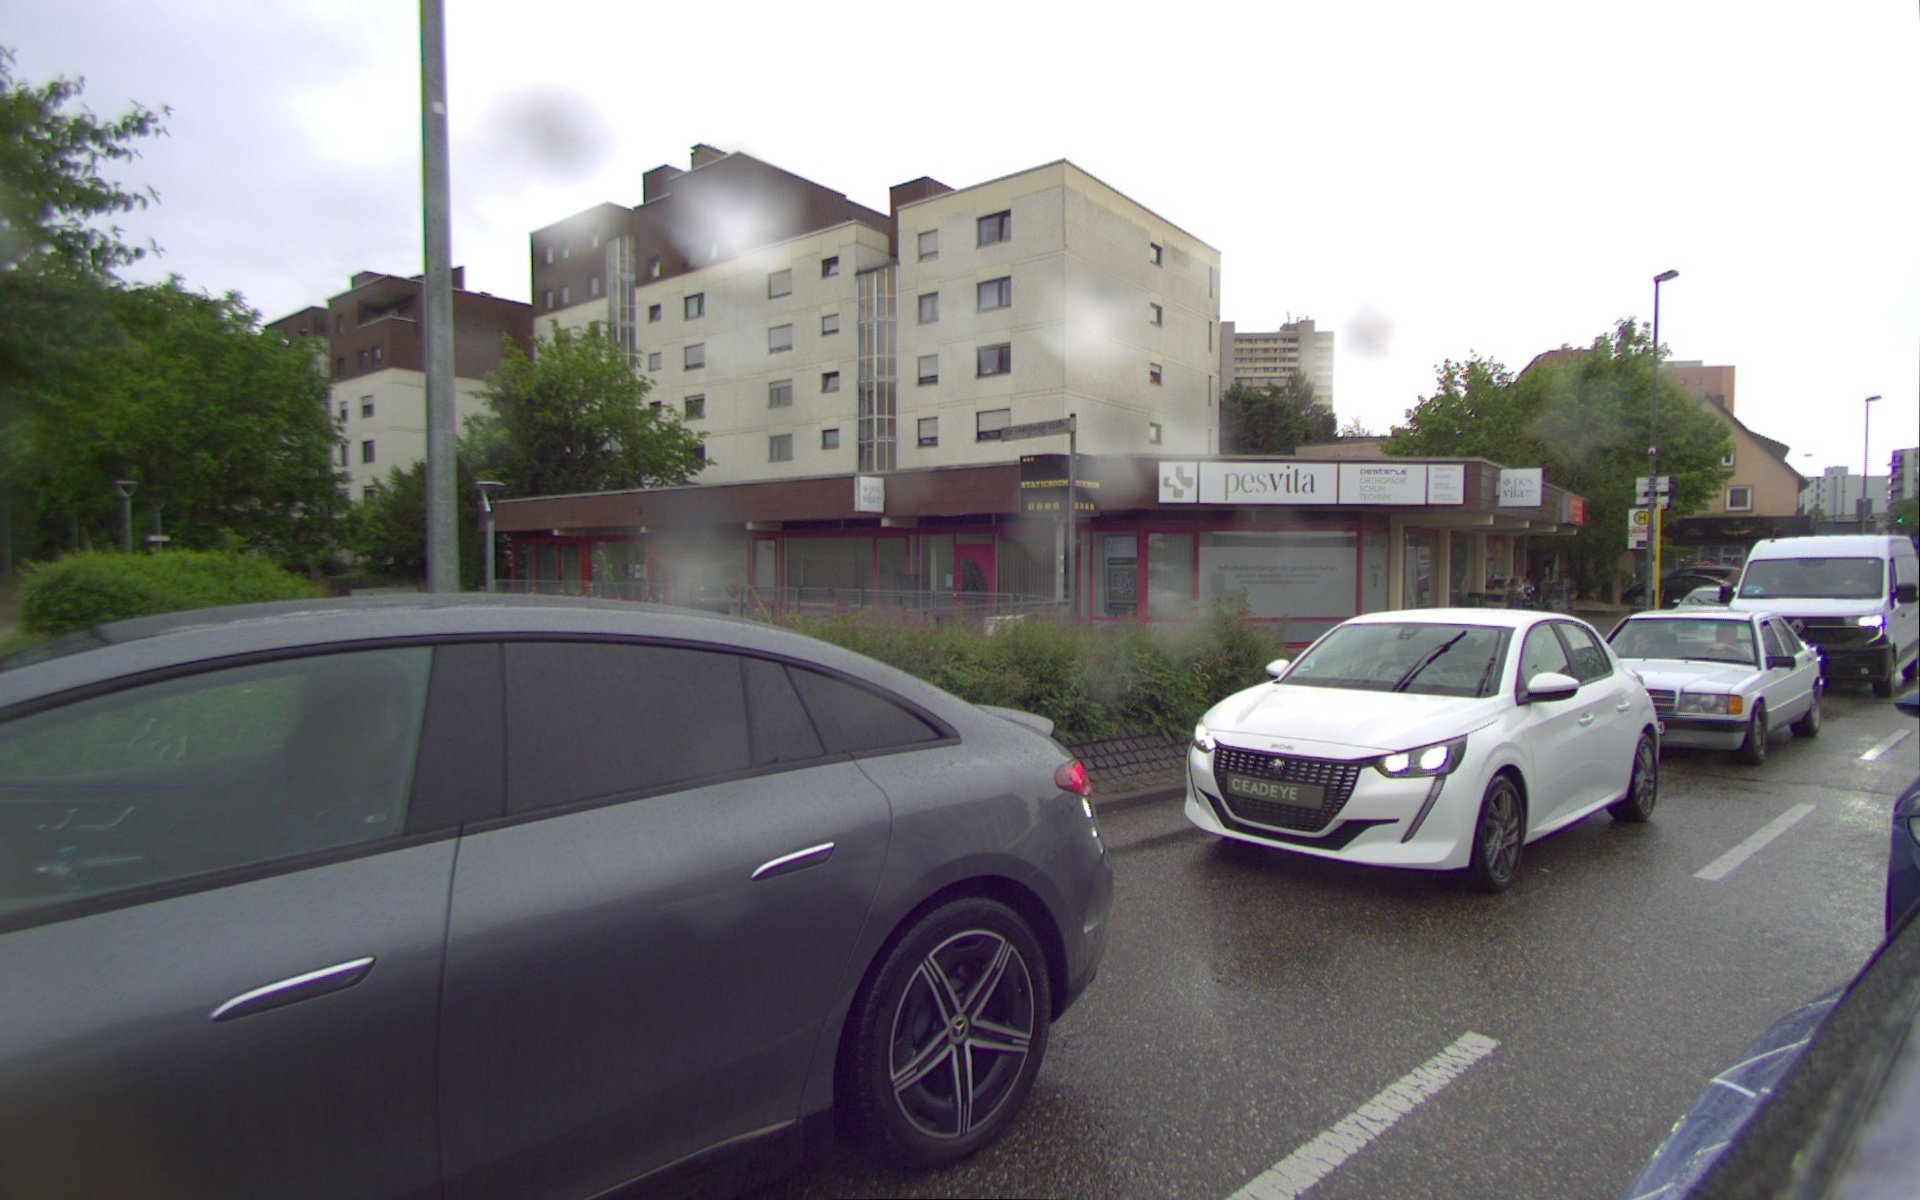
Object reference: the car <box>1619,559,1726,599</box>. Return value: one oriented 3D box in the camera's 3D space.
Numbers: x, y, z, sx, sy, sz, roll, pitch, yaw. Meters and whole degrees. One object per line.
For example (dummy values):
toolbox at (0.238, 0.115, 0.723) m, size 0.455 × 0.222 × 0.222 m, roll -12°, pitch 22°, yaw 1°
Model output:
car at (33.331, -1.020, 47.356) m, size 3.981 × 1.801 × 1.858 m, roll 2°, pitch 2°, yaw 39°

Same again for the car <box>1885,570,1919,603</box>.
car at (48.977, -0.715, 51.894) m, size 3.933 × 1.588 × 1.996 m, roll -2°, pitch 1°, yaw -43°

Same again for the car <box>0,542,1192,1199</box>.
car at (-1.612, 0.667, 2.438) m, size 4.724 × 1.485 × 1.840 m, roll 0°, pitch -1°, yaw -41°

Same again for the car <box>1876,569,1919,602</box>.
car at (60.678, -0.953, 65.474) m, size 1.992 × 2.038 × 3.941 m, roll 2°, pitch 3°, yaw 42°

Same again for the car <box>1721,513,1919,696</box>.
car at (14.748, -0.016, 16.984) m, size 6.021 × 2.549 × 2.194 m, roll -2°, pitch 2°, yaw -43°

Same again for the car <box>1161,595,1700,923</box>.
car at (3.218, 0.706, 6.521) m, size 4.043 × 1.433 × 1.665 m, roll -1°, pitch 1°, yaw -41°

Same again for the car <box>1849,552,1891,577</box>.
car at (70.333, -2.727, 78.209) m, size 3.930 × 1.776 × 1.879 m, roll 0°, pitch 3°, yaw -41°

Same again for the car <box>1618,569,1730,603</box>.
car at (31.998, -0.646, 45.375) m, size 3.981 × 1.445 × 1.858 m, roll 2°, pitch 2°, yaw 39°

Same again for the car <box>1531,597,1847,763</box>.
car at (7.734, 0.672, 10.600) m, size 4.089 × 1.362 × 1.787 m, roll -1°, pitch 1°, yaw -41°

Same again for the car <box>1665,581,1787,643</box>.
car at (20.202, 0.266, 26.637) m, size 3.930 × 1.509 × 1.787 m, roll -1°, pitch 1°, yaw -41°
